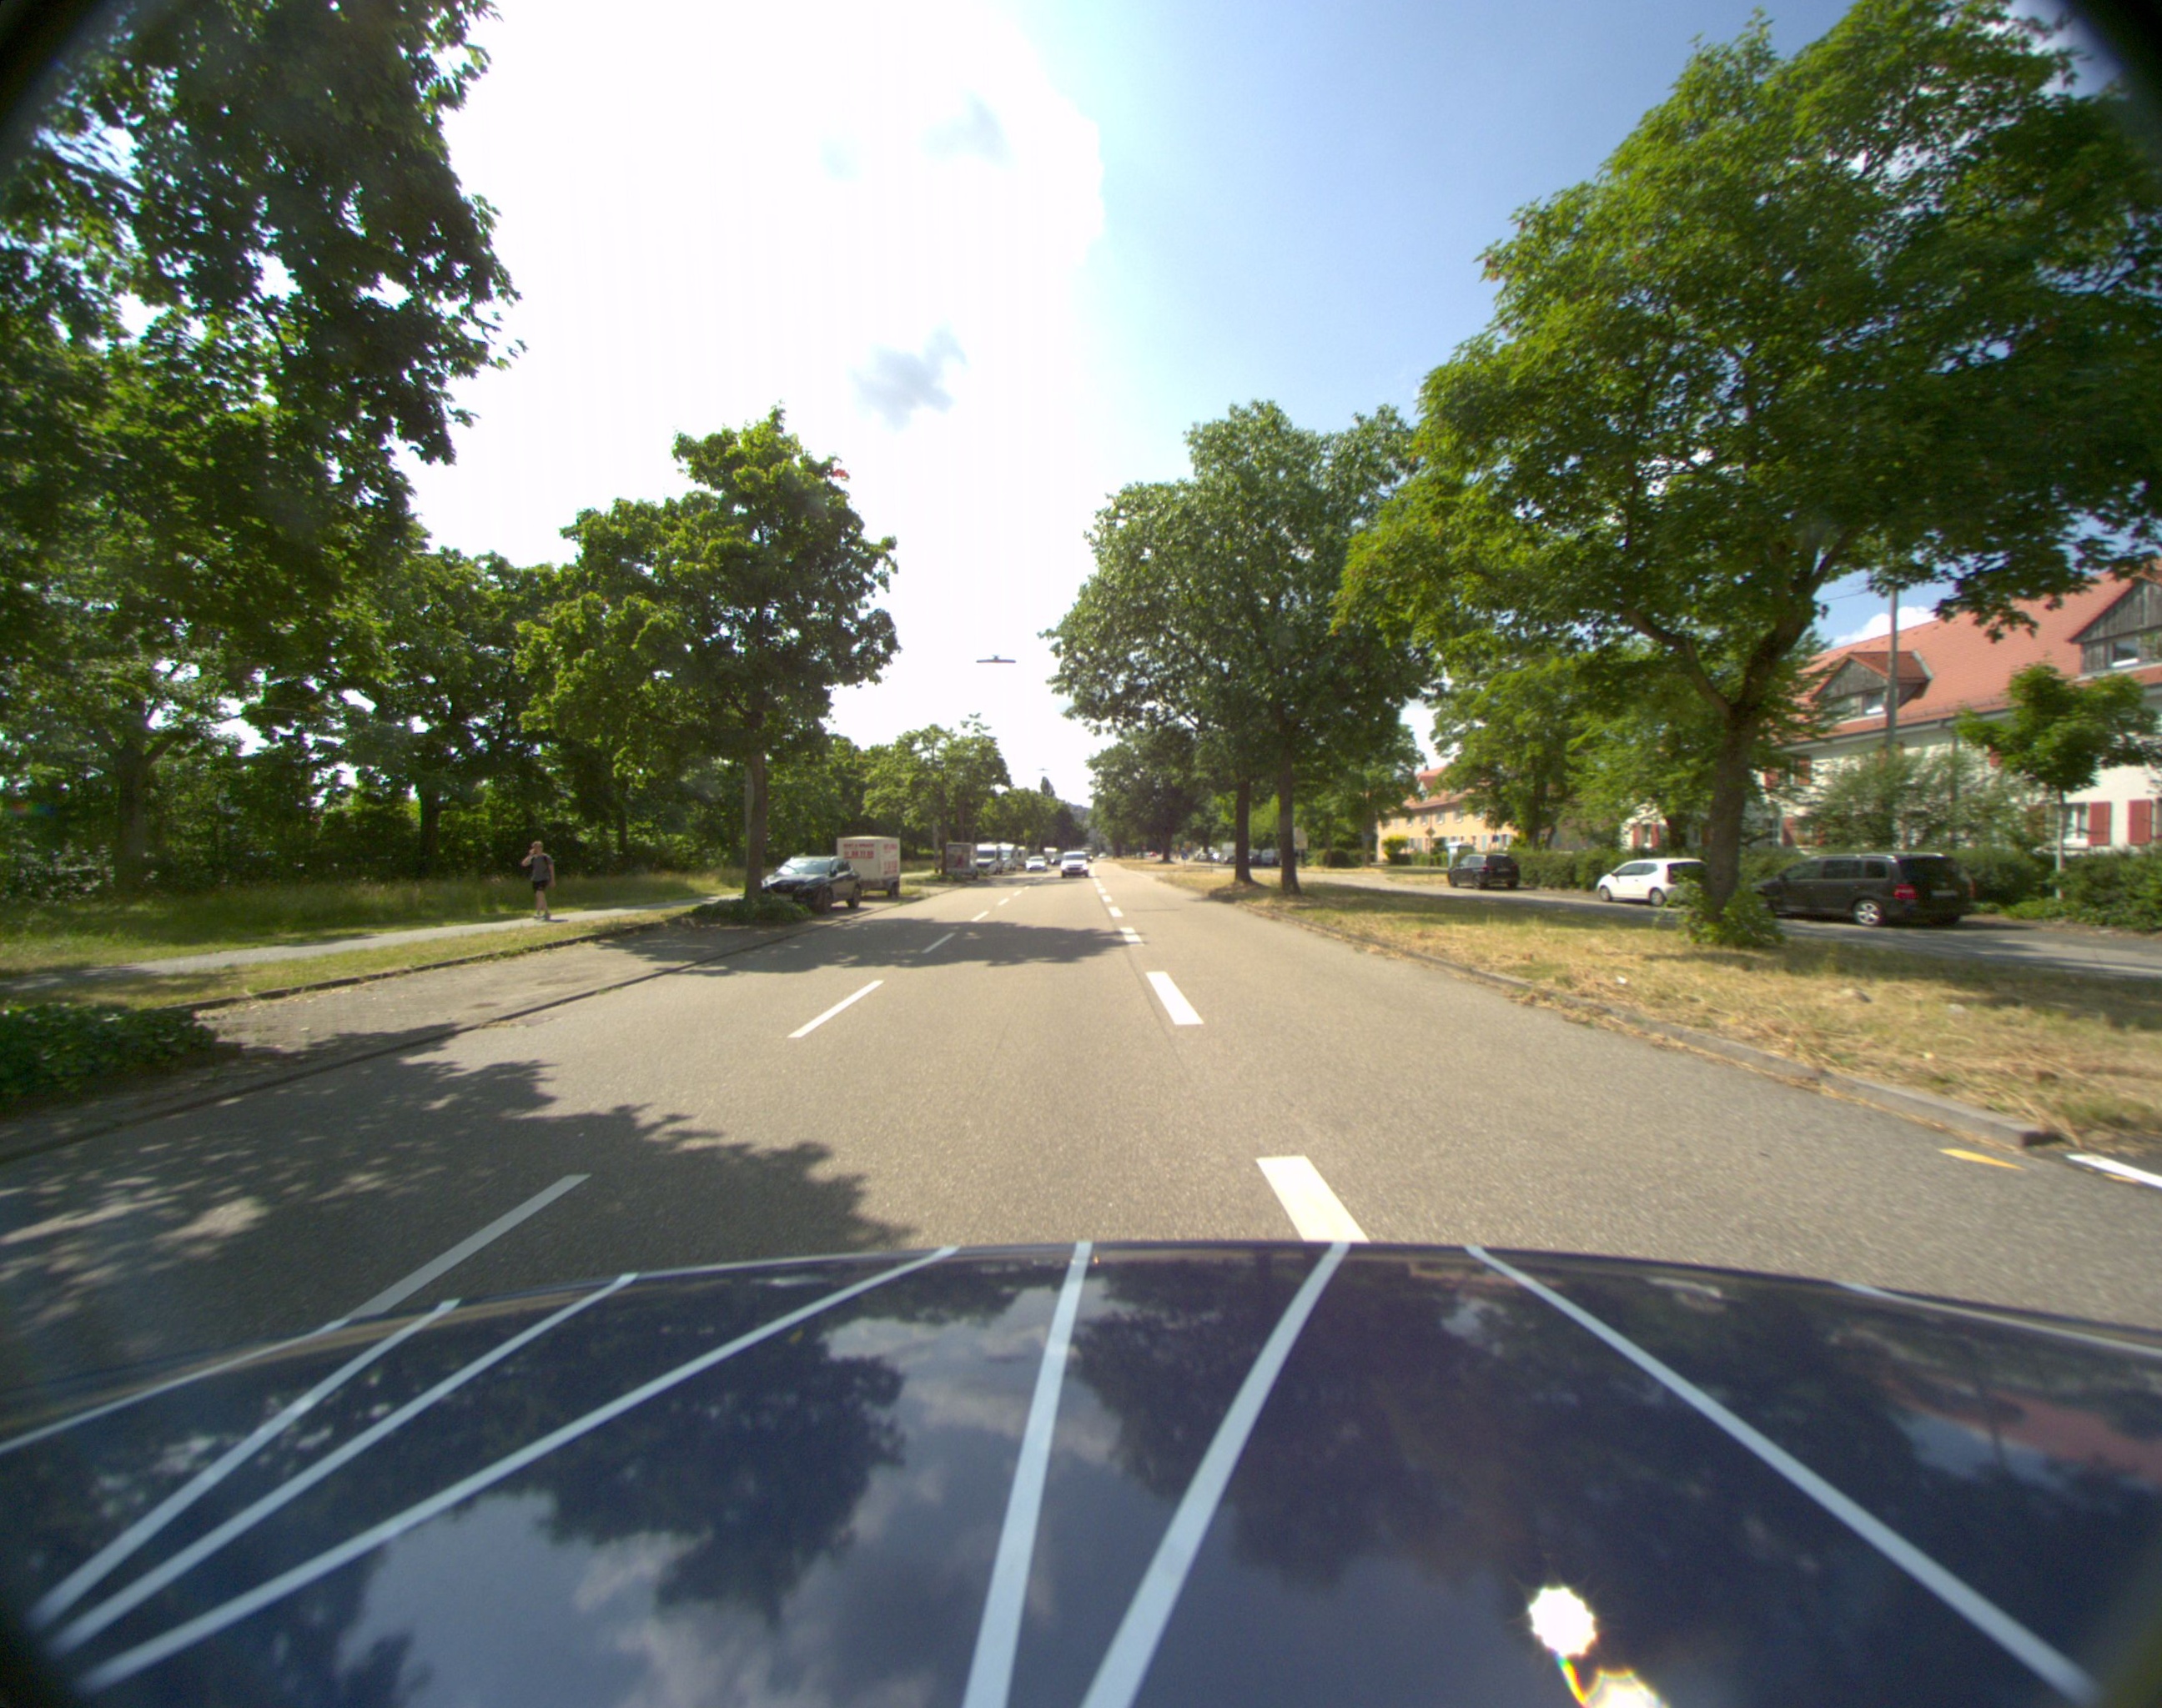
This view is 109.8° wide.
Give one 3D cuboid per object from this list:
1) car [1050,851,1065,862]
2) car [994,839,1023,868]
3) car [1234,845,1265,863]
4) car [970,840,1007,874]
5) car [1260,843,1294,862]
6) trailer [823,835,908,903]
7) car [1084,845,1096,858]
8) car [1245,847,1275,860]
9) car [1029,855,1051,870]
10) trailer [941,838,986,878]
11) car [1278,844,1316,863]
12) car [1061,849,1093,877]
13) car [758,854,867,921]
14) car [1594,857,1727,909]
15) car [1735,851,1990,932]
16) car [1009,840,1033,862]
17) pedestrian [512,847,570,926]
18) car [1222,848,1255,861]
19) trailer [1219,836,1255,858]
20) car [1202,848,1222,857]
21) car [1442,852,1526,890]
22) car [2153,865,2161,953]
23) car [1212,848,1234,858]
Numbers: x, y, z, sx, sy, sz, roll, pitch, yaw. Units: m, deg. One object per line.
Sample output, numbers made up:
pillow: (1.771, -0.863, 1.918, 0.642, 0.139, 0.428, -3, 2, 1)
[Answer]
car: (-3.187, 0.311, 102.916, 1.892, 1.281, 3.999, -3, 1, 0)
car: (-7.329, -0.096, 77.152, 2.262, 2.787, 6.766, 2, 1, 0)
car: (21.346, -0.020, 96.127, 4.007, 2.002, 1.800, -3, 2, -42)
car: (-7.678, 0.186, 63.668, 2.181, 2.680, 6.150, -3, 1, 0)
car: (22.572, -0.166, 87.517, 4.007, 2.002, 1.800, -3, 2, -42)
trailer: (-8.009, 0.488, 28.670, 1.958, 2.338, 4.605, 1, 1, -1)
car: (1.469, -0.371, 121.667, 1.768, 1.893, 4.541, -2, 1, 2)
car: (22.067, -0.081, 93.515, 4.007, 1.390, 1.569, -3, 1, -42)
car: (-3.891, 0.805, 72.549, 1.892, 1.281, 3.999, -3, 1, 0)
trailer: (-7.598, 0.214, 49.490, 1.998, 2.352, 4.781, 4, 1, 1)
car: (22.129, -0.053, 77.869, 4.008, 1.849, 1.800, -2, 0, -42)
car: (-0.229, 0.619, 52.433, 1.935, 1.774, 4.716, -2, 0, 2)
car: (-7.745, 0.894, 22.338, 1.595, 1.681, 4.361, 0, 1, 1)
car: (18.683, 0.880, 24.687, 1.598, 1.453, 3.534, -3, 1, 0)
car: (18.443, 0.791, 18.277, 1.664, 1.603, 4.313, -3, 1, 0)
car: (-7.142, -0.412, 90.910, 2.262, 2.526, 6.766, 1, 1, 0)
pedestrian: (-12.519, 0.738, 17.636, 0.719, 1.784, 0.740, -3, 1, 0)
car: (20.950, 0.011, 101.173, 3.997, 1.502, 1.800, -2, 1, 1)
trailer: (23.326, -1.042, 113.151, 2.820, 3.090, 5.764, -2, 0, 39)
car: (22.818, -0.275, 132.420, 1.668, 1.341, 3.827, -1, 1, 42)
car: (18.649, 0.719, 35.356, 1.772, 1.543, 3.999, -3, 1, 0)
car: (18.613, 0.909, 10.681, 1.664, 1.443, 3.846, -3, 1, 0)
car: (23.217, -0.242, 124.108, 1.668, 1.456, 3.827, -1, 1, 42)
